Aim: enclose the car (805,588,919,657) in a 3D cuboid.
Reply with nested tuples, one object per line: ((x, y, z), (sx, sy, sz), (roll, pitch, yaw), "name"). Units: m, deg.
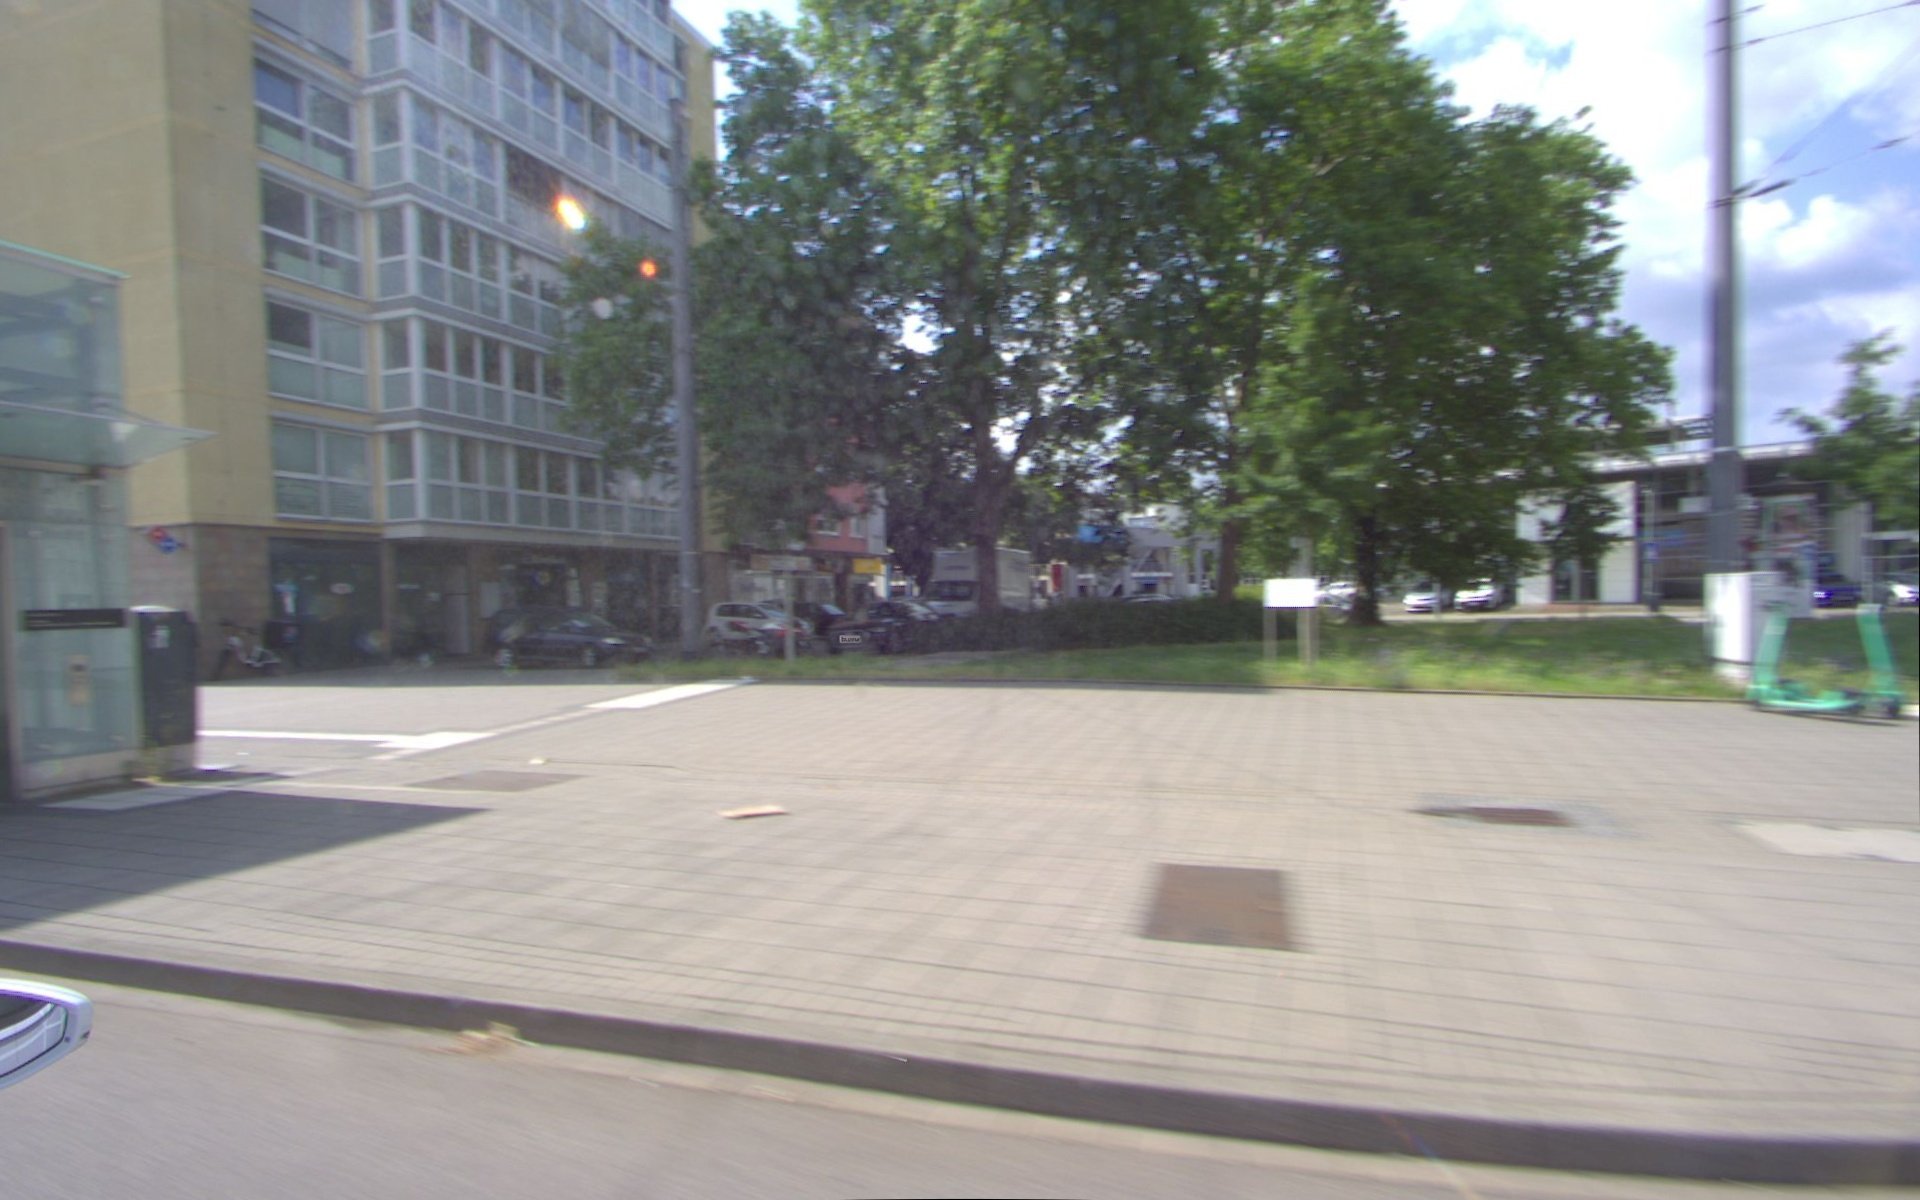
((-2.617, 0.572, 27.682), (1.963, 1.729, 3.995), (-1, 1, 12), "car")

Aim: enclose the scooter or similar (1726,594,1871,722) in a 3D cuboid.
((8.464, 0.557, 10.148), (0.375, 1.213, 1.062), (0, 1, -16), "scooter or similar")

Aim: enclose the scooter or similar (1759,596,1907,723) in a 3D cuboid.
((8.937, 0.578, 10.284), (0.376, 1.213, 1.060), (0, 2, -26), "scooter or similar")

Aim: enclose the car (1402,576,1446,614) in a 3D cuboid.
((26.315, -0.297, 56.704), (1.968, 2.041, 3.983), (2, 2, 28), "car")

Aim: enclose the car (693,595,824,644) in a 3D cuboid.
((-6.824, 0.620, 34.024), (4.023, 1.535, 1.805), (1, 1, 20), "car")

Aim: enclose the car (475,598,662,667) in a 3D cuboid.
((-9.520, 0.779, 24.411), (4.024, 1.534, 1.805), (-1, 1, 20), "car")

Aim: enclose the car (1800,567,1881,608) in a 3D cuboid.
((39.714, -0.576, 45.278), (1.970, 1.749, 3.980), (1, 1, 31), "car")

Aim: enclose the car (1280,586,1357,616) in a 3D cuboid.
((19.660, 0.023, 55.007), (3.634, 1.508, 1.661), (2, 3, 37), "car")

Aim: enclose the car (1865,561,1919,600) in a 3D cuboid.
((42.815, -0.855, 45.187), (1.904, 1.706, 3.984), (1, 1, 27), "car")

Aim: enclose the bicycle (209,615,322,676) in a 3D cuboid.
((-15.251, 0.971, 22.068), (0.469, 1.218, 2.191), (1, 1, 20), "bicycle")

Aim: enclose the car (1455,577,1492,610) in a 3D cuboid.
((28.534, -0.376, 55.597), (1.763, 1.705, 3.982), (-1, 1, 28), "car")

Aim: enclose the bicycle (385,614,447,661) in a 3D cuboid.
((-14.025, 0.943, 25.848), (0.584, 1.144, 1.343), (1, 1, 24), "bicycle")

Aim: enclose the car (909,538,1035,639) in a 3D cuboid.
((0.608, -0.383, 34.555), (1.966, 3.083, 7.230), (-1, 0, 21), "car")

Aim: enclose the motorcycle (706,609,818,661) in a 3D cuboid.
((-4.294, 0.750, 21.710), (2.255, 1.043, 0.972), (-1, -1, -21), "motorcycle")

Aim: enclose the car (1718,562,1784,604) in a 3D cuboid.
((37.523, -0.798, 47.595), (1.972, 1.862, 3.978), (-2, 0, 32), "car")

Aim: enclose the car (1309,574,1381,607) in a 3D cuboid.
((25.320, -0.640, 65.857), (3.954, 2.041, 1.983), (2, 2, 42), "car")
